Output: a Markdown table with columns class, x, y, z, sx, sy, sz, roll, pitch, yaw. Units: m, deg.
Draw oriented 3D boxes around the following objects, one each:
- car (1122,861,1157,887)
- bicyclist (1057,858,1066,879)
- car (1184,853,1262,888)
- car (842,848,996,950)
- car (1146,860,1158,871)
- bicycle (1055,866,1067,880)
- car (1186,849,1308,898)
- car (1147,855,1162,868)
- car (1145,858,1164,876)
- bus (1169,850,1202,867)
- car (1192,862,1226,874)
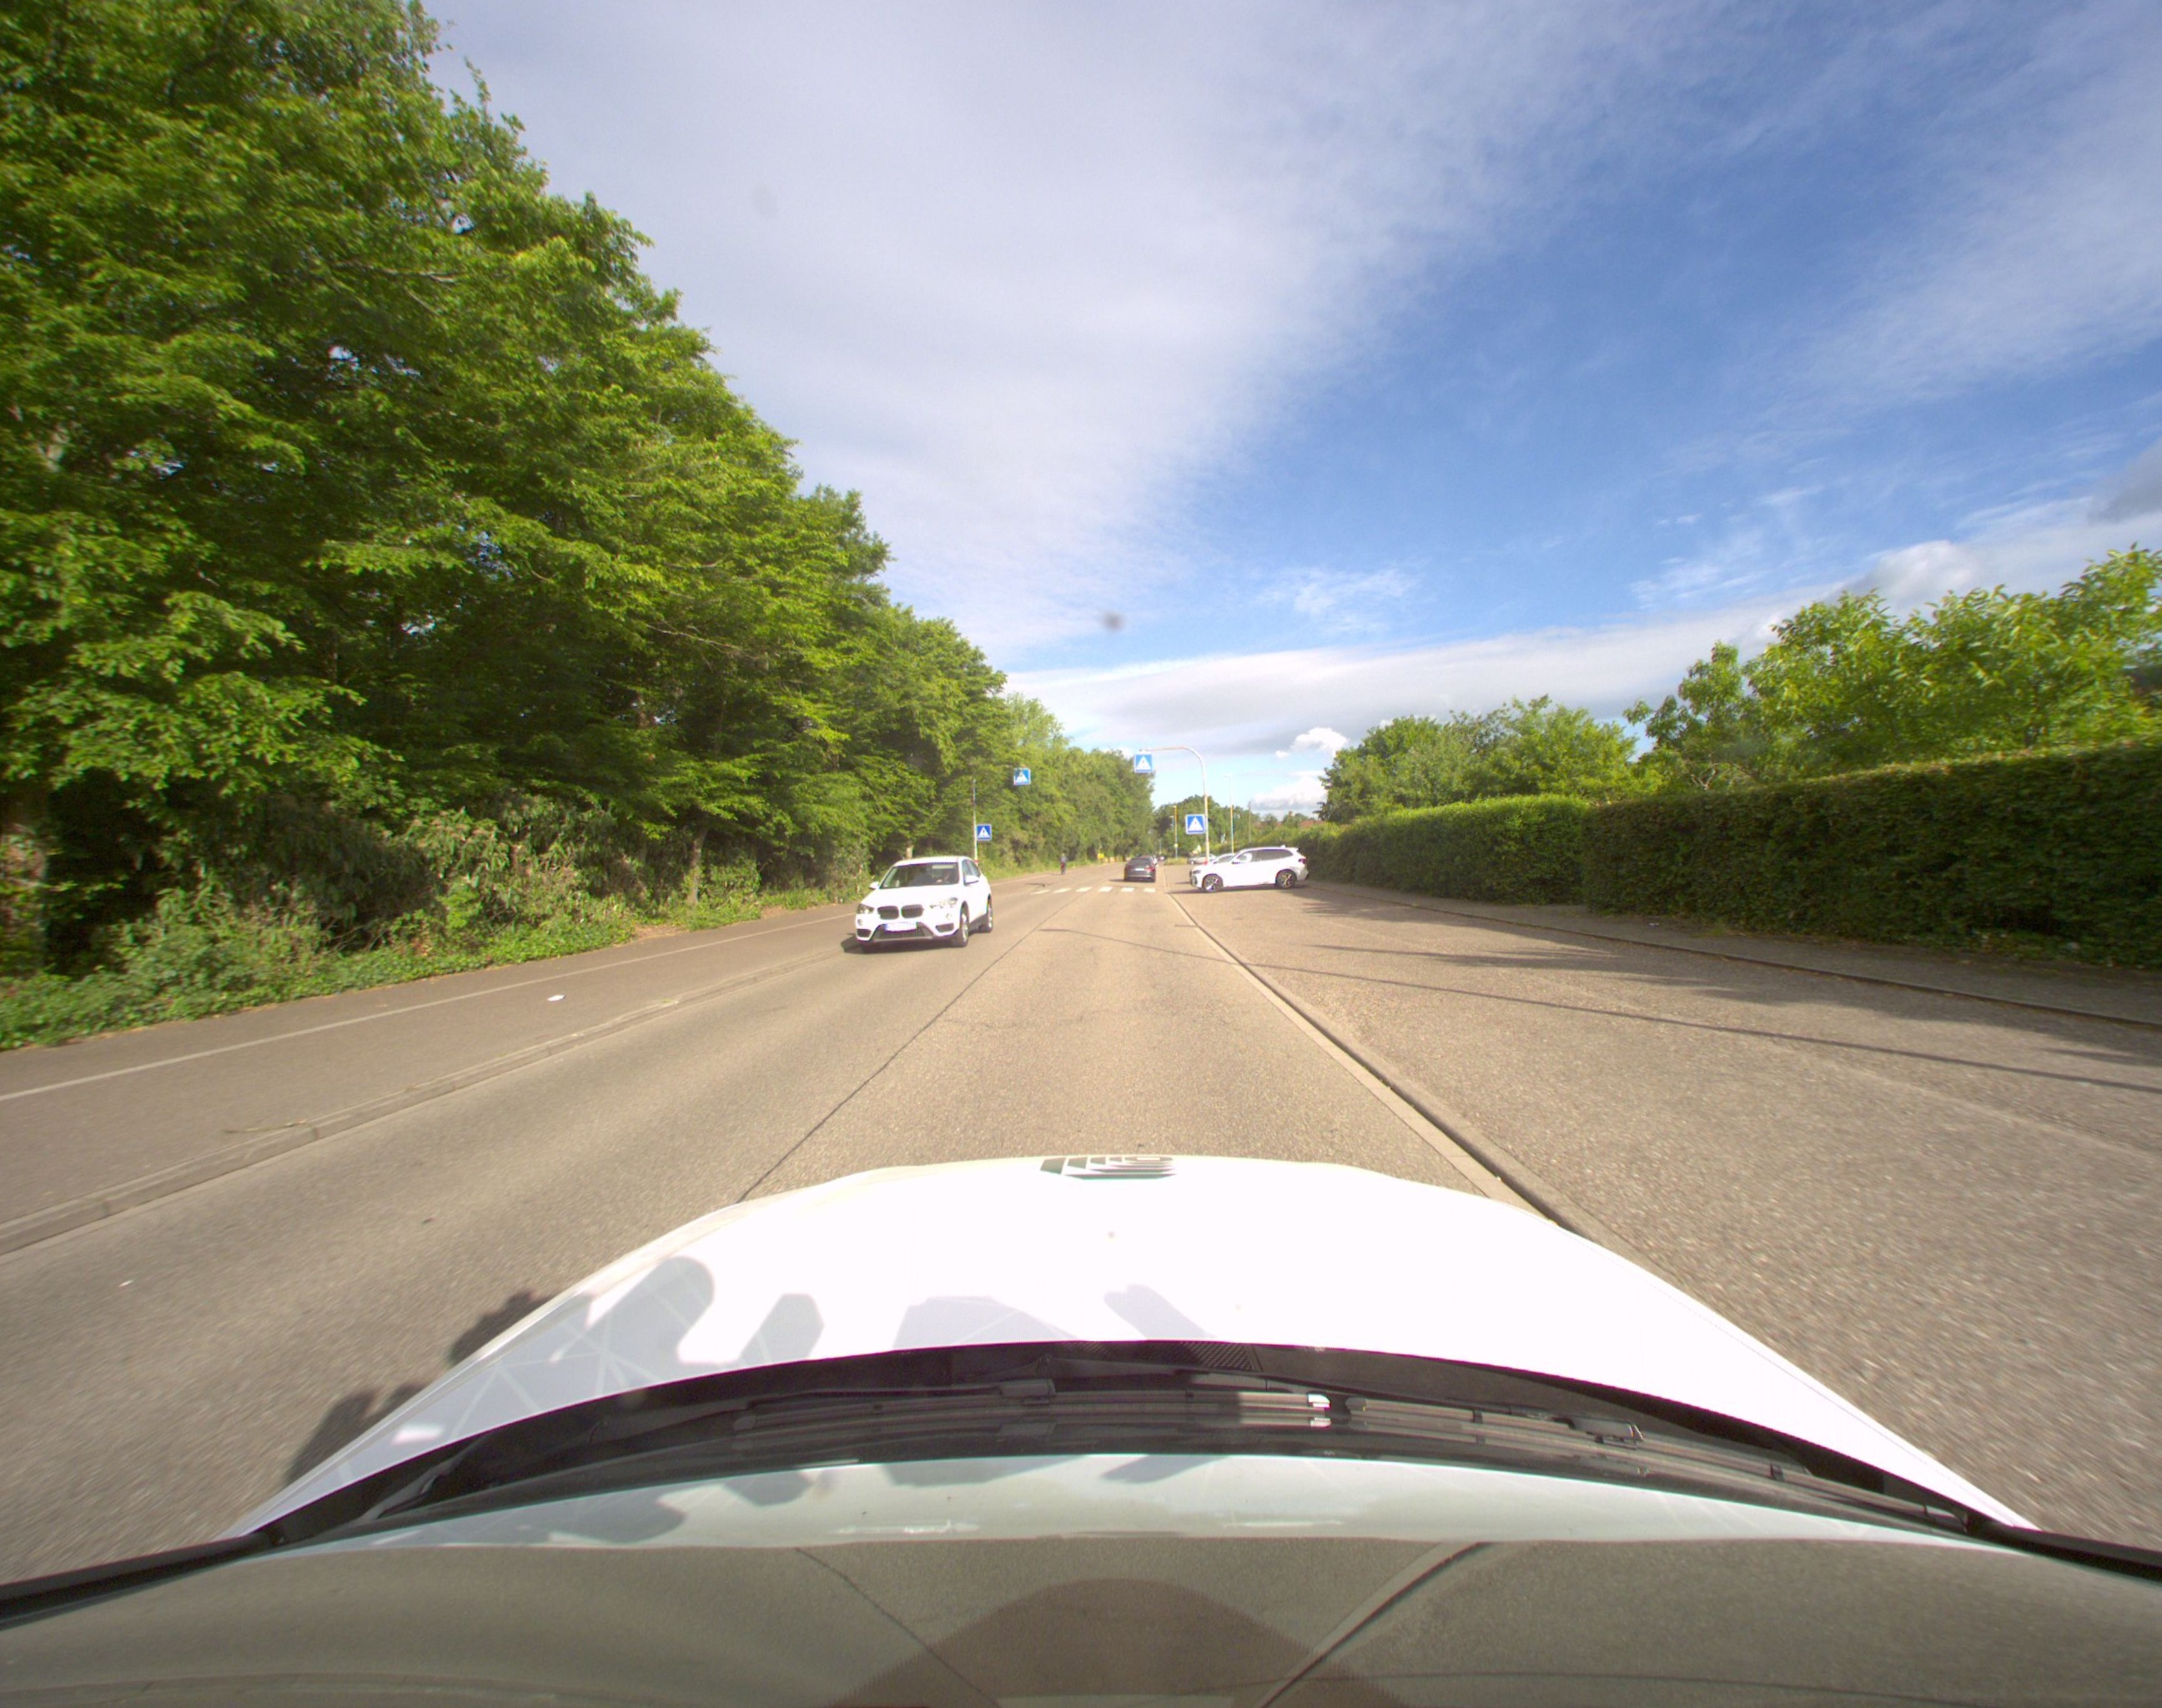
| class | x | y | z | sx | sy | sz | roll | pitch | yaw |
| --- | --- | --- | --- | --- | --- | --- | --- | --- | --- |
| car | 3.426 | 1.122 | 48.000 | 1.957 | 1.434 | 4.340 | 0 | 0 | 4 |
| bicyclist | -1.557 | 1.192 | 65.273 | 0.605 | 1.677 | 0.885 | 0 | 0 | 6 |
| car | 7.519 | 0.865 | 43.415 | 3.840 | 1.490 | 1.694 | -4 | 1 | 3 |
| car | -2.844 | 0.768 | 15.274 | 1.794 | 1.585 | 4.105 | -2 | -1 | 3 |
| car | 9.335 | 1.467 | 106.379 | 1.488 | 1.366 | 3.267 | -2 | 0 | 6 |
| bicycle | -1.567 | 1.488 | 65.137 | 0.659 | 1.097 | 2.353 | 1 | 0 | 6 |
| car | 6.550 | 0.762 | 32.505 | 4.565 | 1.699 | 1.766 | -3 | -1 | 5 |
| car | 7.811 | 0.826 | 86.165 | 1.487 | 1.304 | 3.268 | -2 | 0 | 6 |
| car | 6.039 | 1.080 | 67.348 | 1.488 | 1.366 | 3.266 | -2 | 0 | 4 |
| bus | 17.646 | 0.770 | 138.018 | 5.343 | 2.747 | 2.070 | -3 | 0 | 2 |
| car | 16.901 | 1.826 | 107.624 | 4.333 | 1.443 | 1.939 | -2 | -1 | 12 |
